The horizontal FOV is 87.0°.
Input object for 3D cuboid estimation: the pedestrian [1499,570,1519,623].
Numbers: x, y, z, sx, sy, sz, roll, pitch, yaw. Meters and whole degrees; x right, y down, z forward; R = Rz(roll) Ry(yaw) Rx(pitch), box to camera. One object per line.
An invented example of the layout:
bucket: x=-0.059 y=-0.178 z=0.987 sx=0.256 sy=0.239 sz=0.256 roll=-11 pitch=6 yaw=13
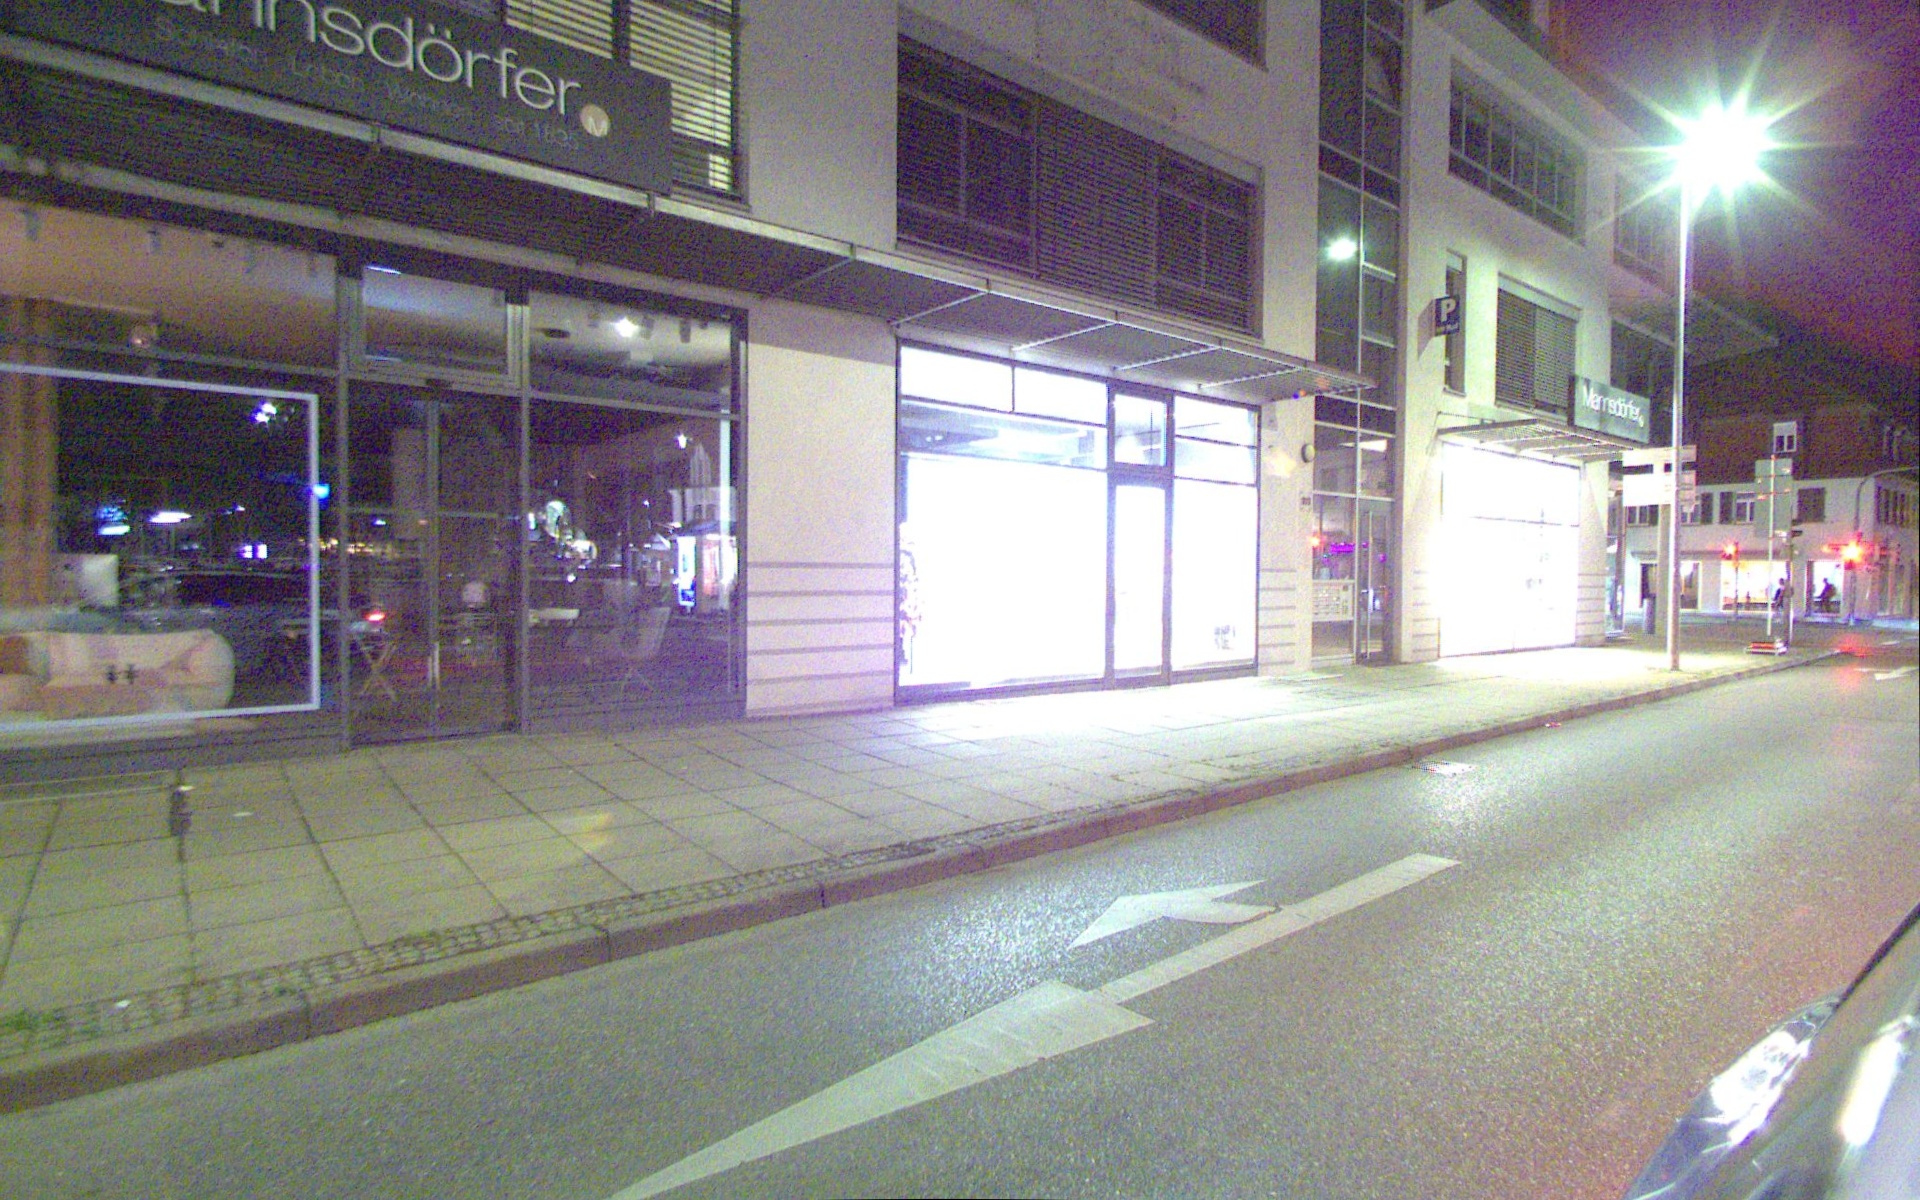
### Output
pedestrian: x=17.941 y=-0.113 z=33.081 sx=0.478 sy=1.708 sz=0.407 roll=0 pitch=0 yaw=-36

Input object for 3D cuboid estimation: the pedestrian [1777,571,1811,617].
pedestrian: x=32.891 y=-0.249 z=39.926 sx=0.635 sy=1.755 sz=0.877 roll=0 pitch=2 yaw=-37

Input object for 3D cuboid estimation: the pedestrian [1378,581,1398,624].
pedestrian: x=17.437 y=0.105 z=41.225 sx=0.556 sy=1.738 sz=0.525 roll=0 pitch=0 yaw=-34
